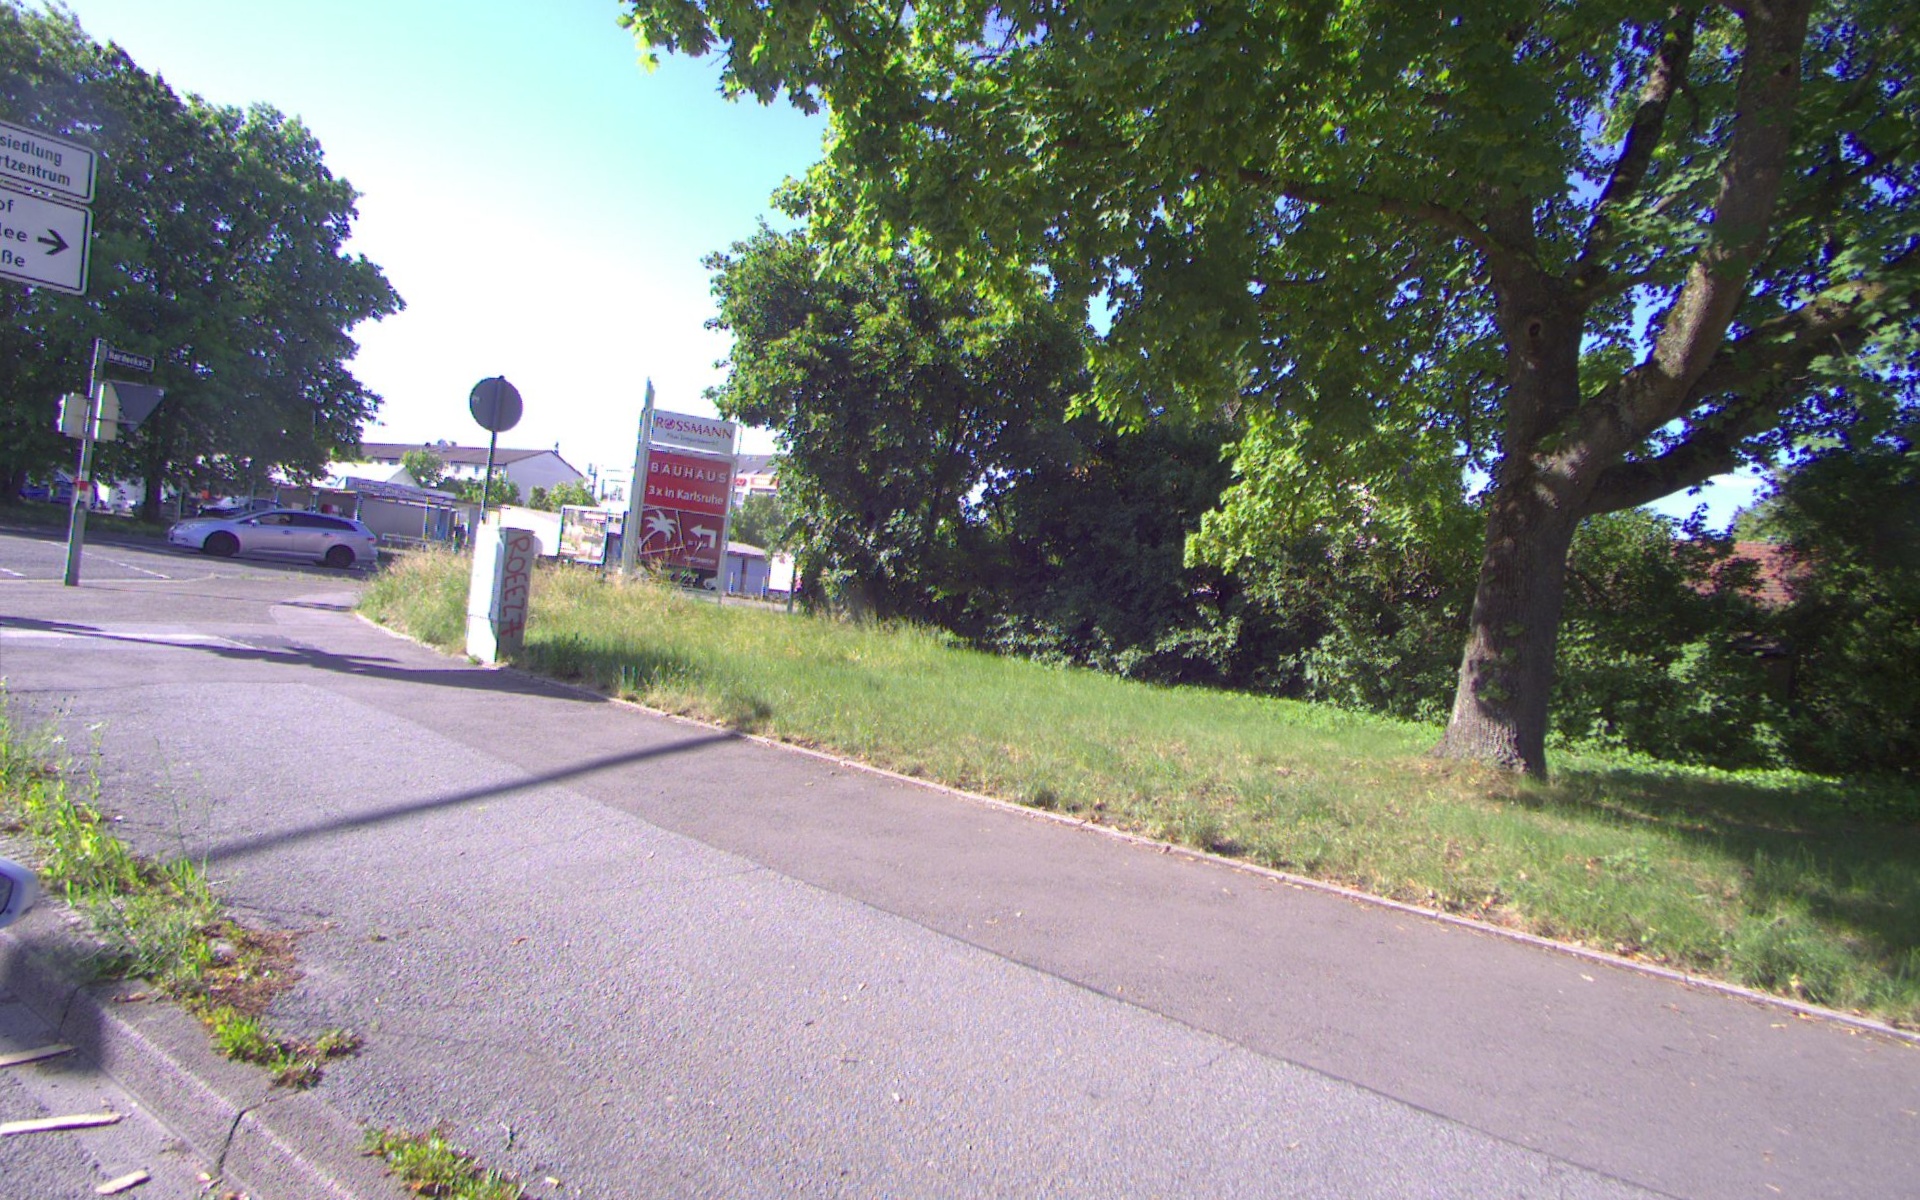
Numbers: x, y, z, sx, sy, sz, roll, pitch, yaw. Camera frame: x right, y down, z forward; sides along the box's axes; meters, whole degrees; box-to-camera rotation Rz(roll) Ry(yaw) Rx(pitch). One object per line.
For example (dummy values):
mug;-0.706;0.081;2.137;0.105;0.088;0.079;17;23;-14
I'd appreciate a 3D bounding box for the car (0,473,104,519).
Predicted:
car;-41.992;-4.779;46.154;1.712;1.537;3.902;7;0;9

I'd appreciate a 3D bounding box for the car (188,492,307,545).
car;-30.298;-3.437;42.915;1.712;1.701;4.001;7;0;9

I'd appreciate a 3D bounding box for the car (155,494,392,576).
car;-18.649;-1.738;27.525;1.973;1.504;4.994;7;0;43

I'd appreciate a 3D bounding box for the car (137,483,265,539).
car;-32.341;-3.748;43.002;1.962;1.772;4.001;7;0;9

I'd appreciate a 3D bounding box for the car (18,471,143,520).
car;-39.181;-4.637;44.930;1.712;1.537;3.902;7;0;9
